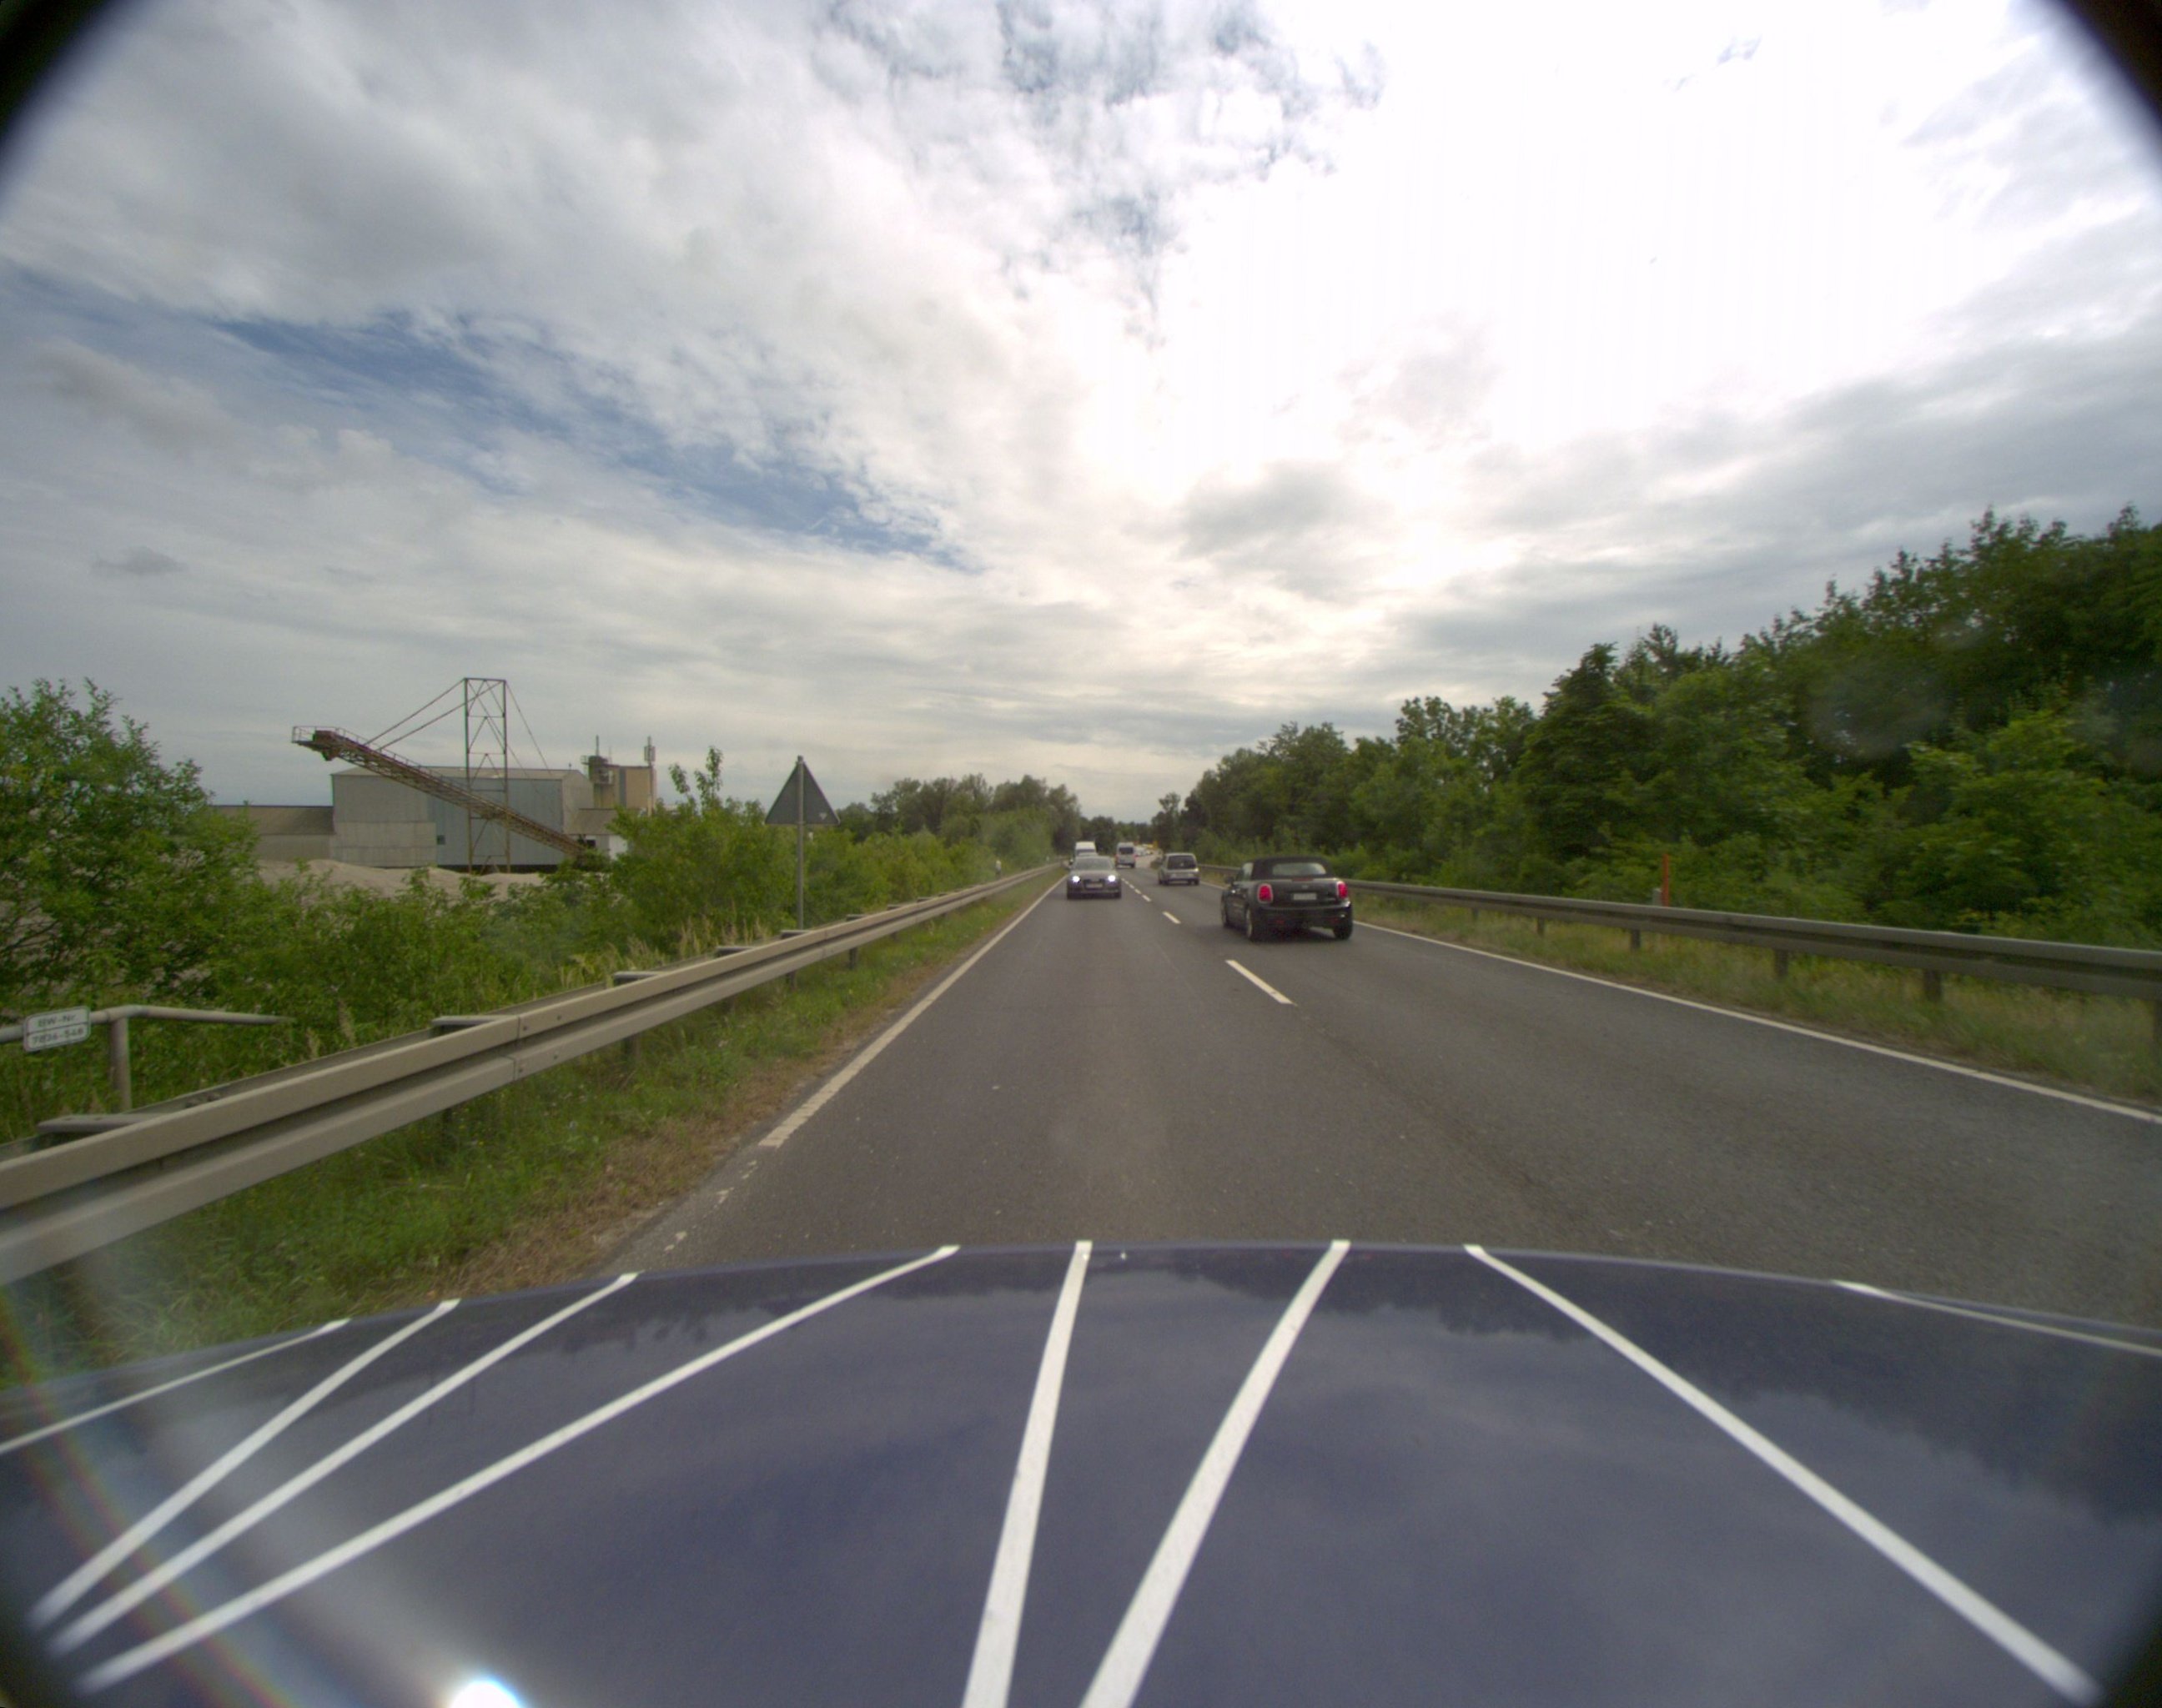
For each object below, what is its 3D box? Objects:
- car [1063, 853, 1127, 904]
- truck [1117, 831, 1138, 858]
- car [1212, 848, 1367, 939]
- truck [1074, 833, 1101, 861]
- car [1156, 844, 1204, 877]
[{"bbox_3d":[0.498,0.761,26.446,1.964,1.447,4.796,-2,2,1],"label":"car"},{"bbox_3d":[4.906,-1.050,80.856,2.070,2.727,7.006,-1,1,2],"label":"truck"},{"bbox_3d":[3.684,0.625,14.182,1.840,1.412,4.000,-1,1,1],"label":"car"},{"bbox_3d":[0.574,-0.731,73.096,2.379,2.579,5.995,2,2,-2],"label":"truck"},{"bbox_3d":[4.626,0.278,36.064,1.840,1.436,4.000,-1,1,1],"label":"car"}]
